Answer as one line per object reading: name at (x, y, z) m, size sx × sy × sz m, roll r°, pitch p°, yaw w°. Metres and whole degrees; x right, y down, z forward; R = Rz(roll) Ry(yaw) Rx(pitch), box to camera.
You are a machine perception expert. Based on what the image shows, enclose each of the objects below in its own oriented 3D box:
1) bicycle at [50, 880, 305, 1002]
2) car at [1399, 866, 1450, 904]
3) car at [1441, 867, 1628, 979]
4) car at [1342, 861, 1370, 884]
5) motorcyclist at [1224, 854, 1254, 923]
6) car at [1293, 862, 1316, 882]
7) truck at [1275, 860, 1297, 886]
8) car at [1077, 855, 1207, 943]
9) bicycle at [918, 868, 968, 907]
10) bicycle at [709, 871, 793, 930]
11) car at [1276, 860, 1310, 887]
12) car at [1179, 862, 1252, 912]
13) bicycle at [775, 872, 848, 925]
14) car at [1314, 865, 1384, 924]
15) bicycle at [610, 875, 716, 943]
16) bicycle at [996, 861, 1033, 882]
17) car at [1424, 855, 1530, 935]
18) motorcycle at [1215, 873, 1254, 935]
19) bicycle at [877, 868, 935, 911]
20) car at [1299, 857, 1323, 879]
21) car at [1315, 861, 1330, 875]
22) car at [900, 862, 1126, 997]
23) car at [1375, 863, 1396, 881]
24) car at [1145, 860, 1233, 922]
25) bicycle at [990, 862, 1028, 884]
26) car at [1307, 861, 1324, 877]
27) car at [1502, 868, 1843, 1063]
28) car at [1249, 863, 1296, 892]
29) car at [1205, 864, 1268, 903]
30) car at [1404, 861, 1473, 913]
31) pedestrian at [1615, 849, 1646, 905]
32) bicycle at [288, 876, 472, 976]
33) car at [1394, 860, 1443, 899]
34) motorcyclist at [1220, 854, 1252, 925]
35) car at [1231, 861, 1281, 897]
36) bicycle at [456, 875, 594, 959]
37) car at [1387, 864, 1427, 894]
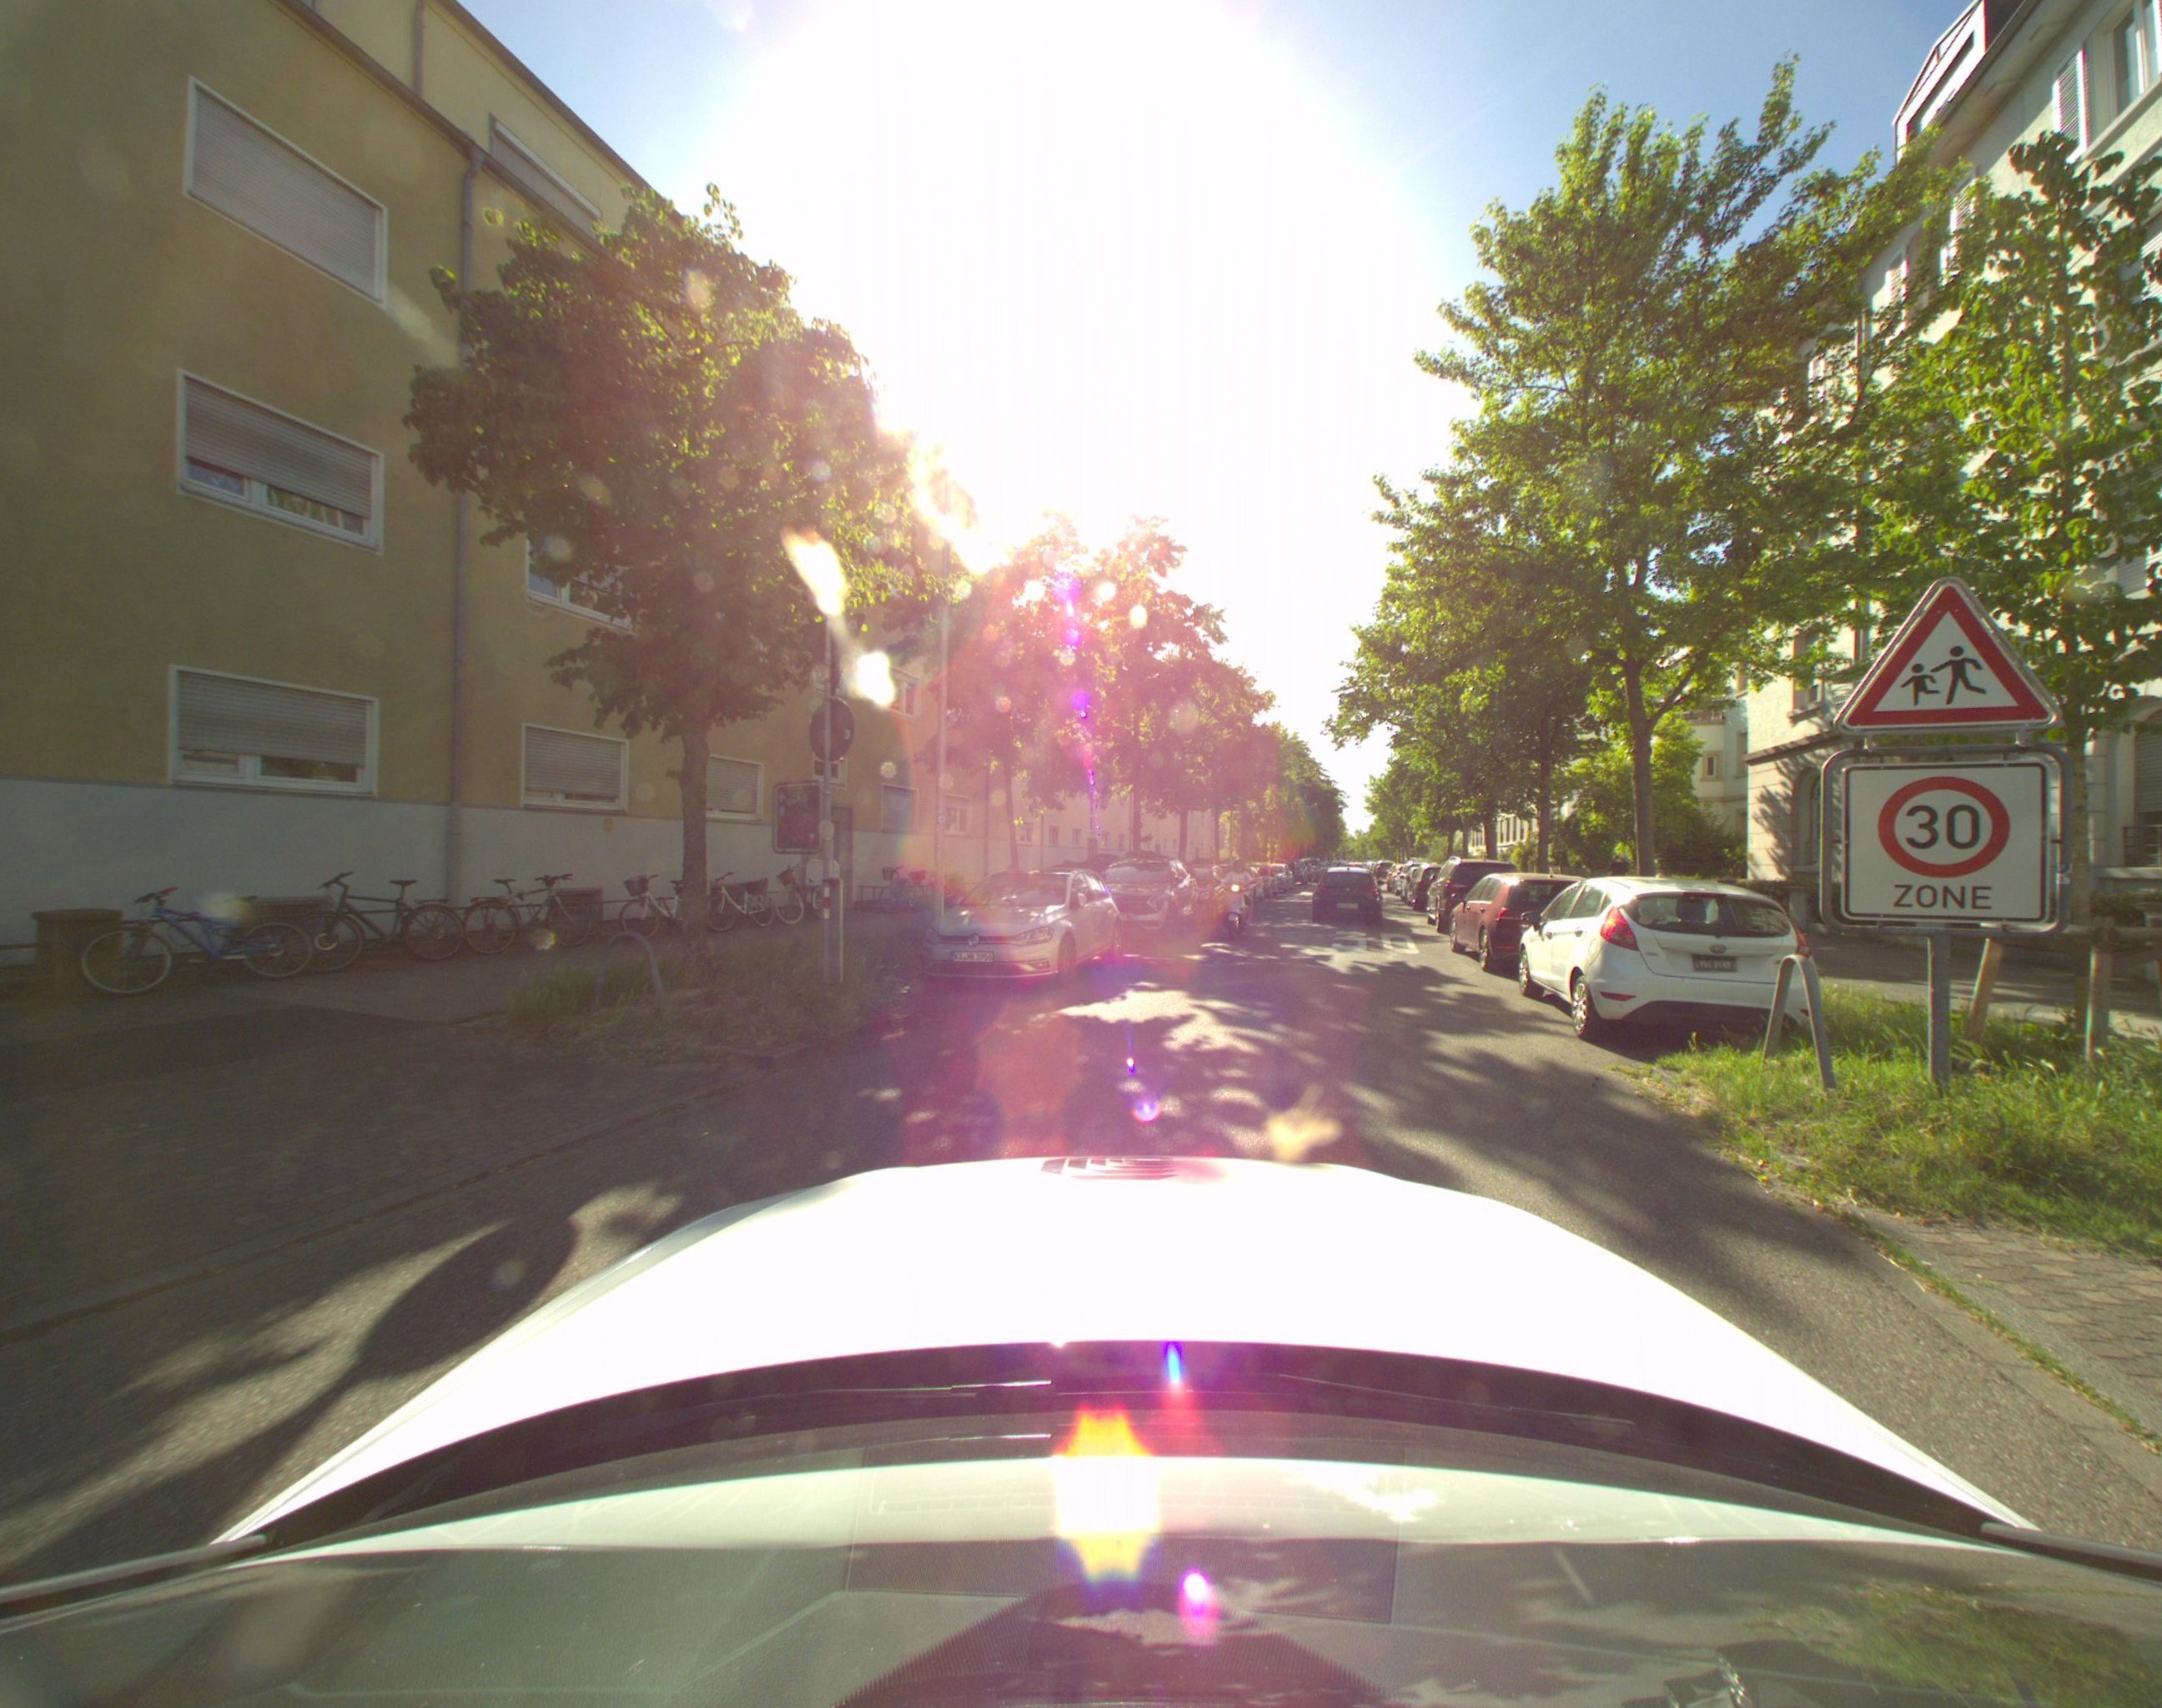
bicycle at (-8.540, 0.768, 7.788) m, size 0.472 × 1.001 × 1.552 m, roll 0°, pitch 0°, yaw 19°
car at (13.794, 1.189, 32.911) m, size 1.616 × 1.425 × 4.389 m, roll 0°, pitch -1°, yaw 19°
car at (6.971, 0.938, 12.992) m, size 1.599 × 1.410 × 4.369 m, roll 1°, pitch 0°, yaw 15°
car at (17.609, 1.138, 52.303) m, size 1.636 × 1.425 × 4.019 m, roll 0°, pitch 0°, yaw 17°
motorcyclist at (3.317, 0.710, 17.104) m, size 0.539 × 1.426 × 0.406 m, roll 1°, pitch -1°, yaw 18°
car at (18.310, 1.428, 66.569) m, size 1.495 × 1.549 × 4.800 m, roll -2°, pitch -1°, yaw 18°
truck at (12.805, 1.185, 50.839) m, size 1.075 × 1.577 × 2.444 m, roll 0°, pitch 0°, yaw 21°
car at (1.443, 0.831, 17.154) m, size 1.678 × 1.565 × 4.756 m, roll 1°, pitch 0°, yaw 17°
bicycle at (-3.753, 0.897, 22.330) m, size 0.531 × 1.027 × 1.757 m, roll 1°, pitch 0°, yaw 20°
bicycle at (-6.059, 0.835, 15.036) m, size 0.507 × 1.001 × 1.552 m, roll 0°, pitch 0°, yaw 19°
car at (14.427, 1.308, 55.201) m, size 1.834 × 1.681 × 5.000 m, roll -2°, pitch -1°, yaw 19°
car at (4.393, 0.992, 26.212) m, size 1.651 × 1.459 × 3.951 m, roll 1°, pitch 0°, yaw 19°
bicycle at (-5.457, 0.873, 16.600) m, size 0.510 × 1.001 × 1.553 m, roll 0°, pitch 0°, yaw 22°
car at (7.070, 1.002, 21.489) m, size 1.636 × 1.397 × 3.427 m, roll 0°, pitch 0°, yaw 18°
bicycle at (-6.772, 0.854, 13.279) m, size 0.431 × 1.001 × 1.689 m, roll 0°, pitch 0°, yaw 19°
bicycle at (-3.115, 0.816, 38.270) m, size 1.622 × 0.930 × 0.482 m, roll 0°, pitch -1°, yaw 10°
car at (9.418, 0.900, 19.697) m, size 1.766 × 1.698 × 4.317 m, roll 0°, pitch 0°, yaw 18°
motorcycle at (3.146, 0.985, 16.586) m, size 0.548 × 1.175 × 1.640 m, roll 1°, pitch 0°, yaw 19°
bicycle at (-4.376, 0.874, 20.490) m, size 0.536 × 1.027 × 1.757 m, roll 1°, pitch 0°, yaw 20°
car at (21.711, 1.308, 76.685) m, size 1.811 × 1.904 × 5.167 m, roll -1°, pitch -1°, yaw 19°
car at (28.732, 1.668, 96.966) m, size 1.599 × 1.679 × 4.253 m, roll 0°, pitch -1°, yaw 18°
car at (-0.683, 0.852, 11.062) m, size 1.747 × 1.442 × 4.011 m, roll 1°, pitch 0°, yaw 16°
car at (28.952, 1.678, 77.393) m, size 1.832 × 1.631 × 4.432 m, roll 2°, pitch -1°, yaw 20°
car at (2.919, 0.917, 21.515) m, size 1.651 × 1.486 × 3.272 m, roll 1°, pitch 0°, yaw 19°
bicycle at (-3.201, 0.835, 36.128) m, size 1.620 × 0.930 × 0.483 m, roll 0°, pitch -1°, yaw 16°
car at (23.581, 1.521, 81.904) m, size 1.600 × 1.611 × 4.248 m, roll 0°, pitch -1°, yaw 17°
car at (5.585, 0.871, 8.330) m, size 1.639 × 1.402 × 4.155 m, roll 1°, pitch 0°, yaw 18°
car at (10.035, 1.190, 42.367) m, size 1.776 × 1.444 × 4.711 m, roll -1°, pitch -1°, yaw 21°
car at (6.087, 1.083, 31.448) m, size 1.731 × 1.369 × 4.696 m, roll 0°, pitch -1°, yaw 19°
car at (12.404, 1.078, 28.508) m, size 1.671 × 1.588 × 4.556 m, roll 3°, pitch 0°, yaw 17°
pedestrian at (17.605, 0.722, 26.085) m, size 0.617 × 1.775 × 0.803 m, roll 0°, pitch -1°, yaw 19°
bicycle at (-7.955, 0.777, 9.333) m, size 0.471 × 1.001 × 1.552 m, roll 0°, pitch 0°, yaw 19°
car at (15.399, 1.137, 37.295) m, size 1.636 × 1.655 × 3.863 m, roll 1°, pitch 0°, yaw 16°
motorcyclist at (3.172, 0.712, 16.633) m, size 0.548 × 1.403 × 0.522 m, roll 1°, pitch -1°, yaw 18°
car at (8.024, 1.112, 37.091) m, size 1.607 × 1.515 × 4.290 m, roll -2°, pitch -1°, yaw 20°
bicycle at (-7.413, 0.803, 10.936) m, size 0.449 × 1.001 × 1.552 m, roll 0°, pitch 0°, yaw 19°
car at (16.846, 1.261, 42.235) m, size 1.636 × 1.428 × 3.628 m, roll 0°, pitch -1°, yaw 17°
